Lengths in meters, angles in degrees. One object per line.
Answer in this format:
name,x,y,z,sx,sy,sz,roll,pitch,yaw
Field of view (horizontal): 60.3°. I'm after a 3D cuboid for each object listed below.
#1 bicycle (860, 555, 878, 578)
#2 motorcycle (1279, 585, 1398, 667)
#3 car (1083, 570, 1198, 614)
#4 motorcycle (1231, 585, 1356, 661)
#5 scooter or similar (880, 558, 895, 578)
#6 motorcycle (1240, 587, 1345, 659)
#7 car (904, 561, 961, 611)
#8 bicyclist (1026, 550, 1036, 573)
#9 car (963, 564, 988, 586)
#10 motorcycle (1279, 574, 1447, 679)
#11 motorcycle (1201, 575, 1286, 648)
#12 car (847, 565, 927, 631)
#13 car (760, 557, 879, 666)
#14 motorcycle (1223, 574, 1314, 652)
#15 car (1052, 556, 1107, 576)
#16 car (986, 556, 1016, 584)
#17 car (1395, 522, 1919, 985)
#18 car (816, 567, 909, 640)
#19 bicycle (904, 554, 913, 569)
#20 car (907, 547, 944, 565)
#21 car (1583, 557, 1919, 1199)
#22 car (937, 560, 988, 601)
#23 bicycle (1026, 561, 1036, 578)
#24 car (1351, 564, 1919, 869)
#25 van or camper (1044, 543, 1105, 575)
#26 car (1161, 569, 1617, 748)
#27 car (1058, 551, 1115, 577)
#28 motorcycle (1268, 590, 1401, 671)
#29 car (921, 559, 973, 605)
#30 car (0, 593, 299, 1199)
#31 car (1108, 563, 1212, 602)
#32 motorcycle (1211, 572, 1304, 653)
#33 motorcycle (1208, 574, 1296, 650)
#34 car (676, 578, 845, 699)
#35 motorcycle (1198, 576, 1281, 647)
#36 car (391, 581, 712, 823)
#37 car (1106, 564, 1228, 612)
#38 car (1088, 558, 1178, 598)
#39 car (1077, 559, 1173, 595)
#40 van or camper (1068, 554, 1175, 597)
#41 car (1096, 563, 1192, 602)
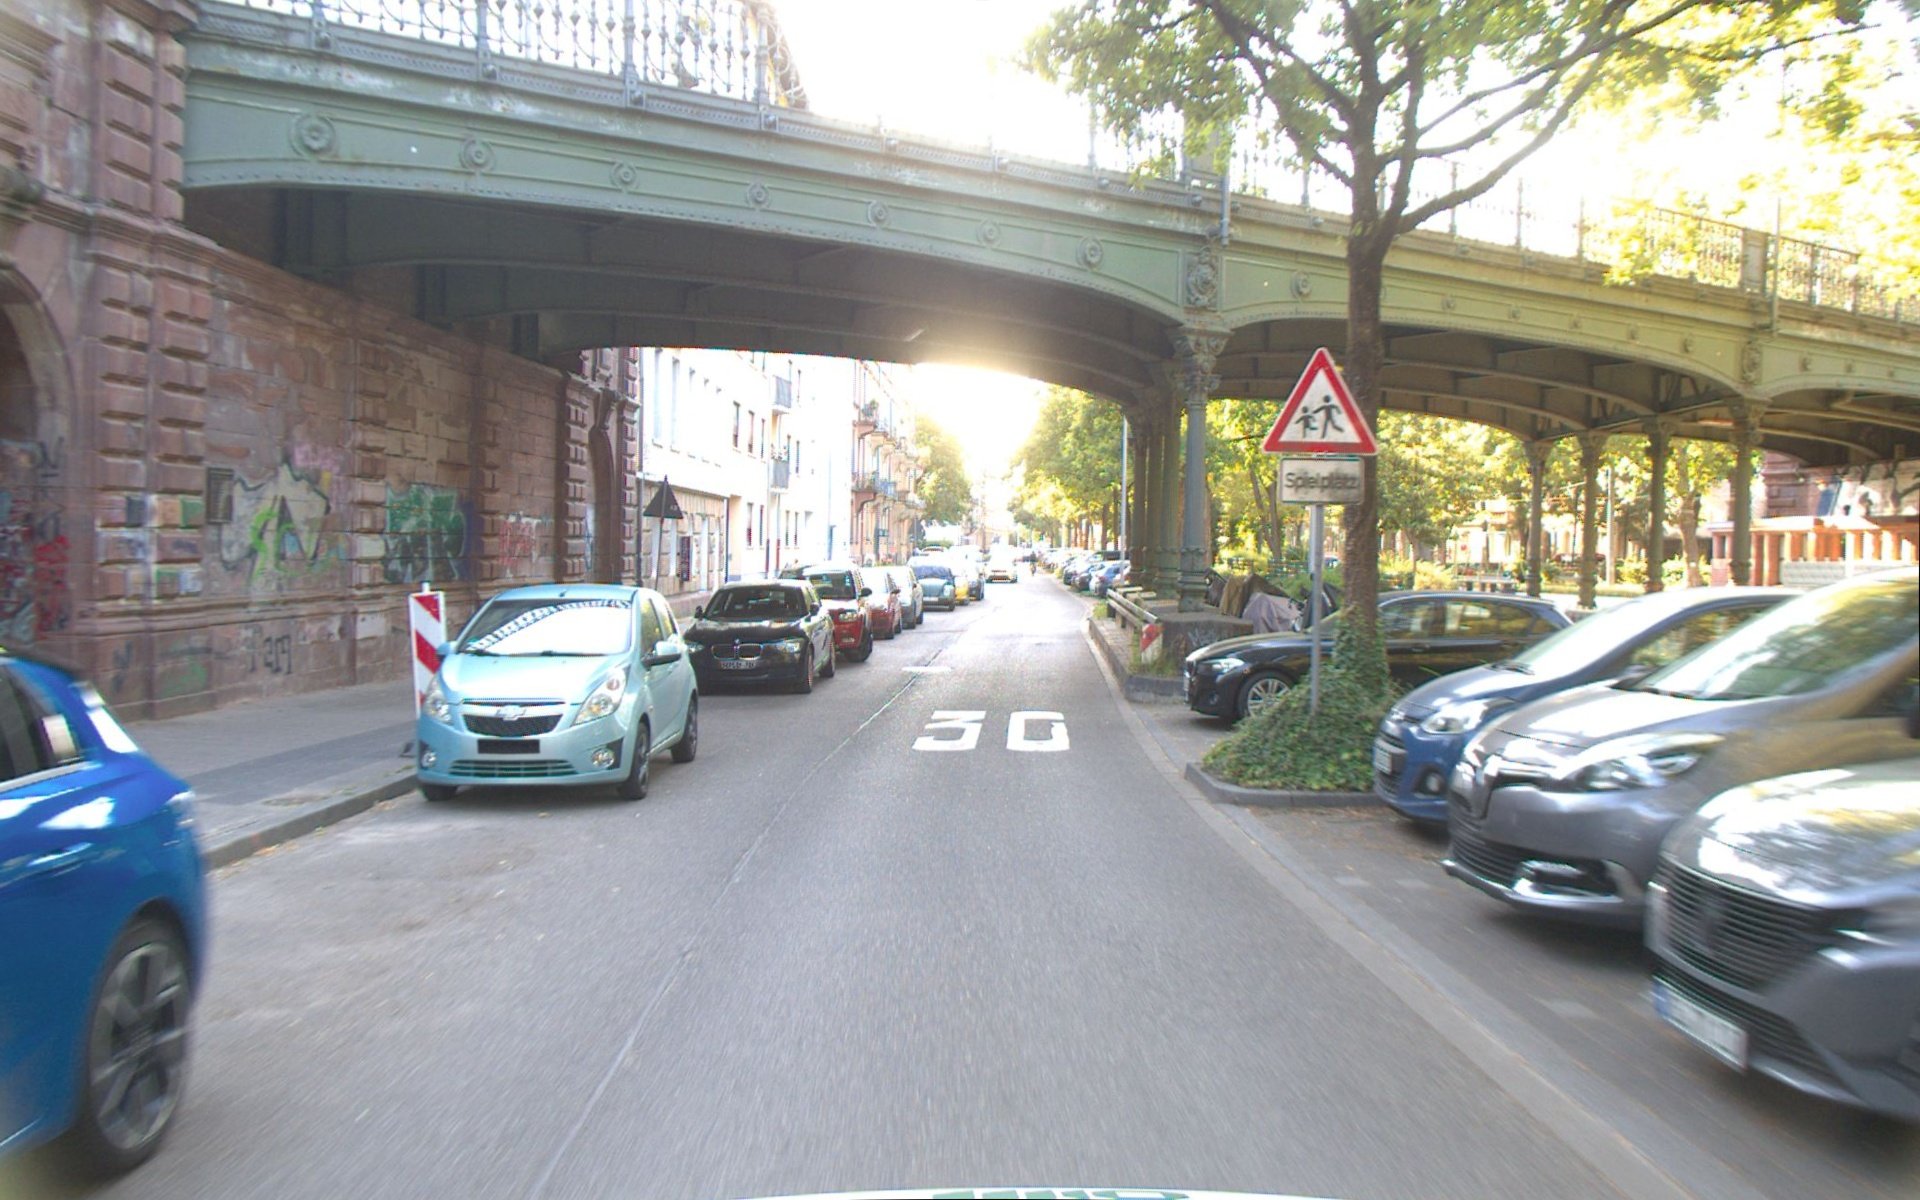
bicycle,-5.056,-1.870,92.061,0.721,1.227,2.515,2,2,3
motorcycle,5.607,0.388,24.478,1.704,1.152,0.704,2,0,-33
car,5.963,-0.270,55.020,3.703,1.426,1.828,0,0,3
motorcycle,5.412,0.375,26.836,1.806,1.152,0.845,2,0,-22
scooter or similar,-4.797,-2.143,110.083,0.767,1.243,2.705,2,0,2
motorcycle,5.652,0.382,28.112,1.573,1.152,0.710,2,0,-15
car,-0.843,-0.477,53.060,1.534,1.544,3.784,1,1,3
bicyclist,5.100,-2.778,118.305,0.614,1.600,0.802,2,0,0
car,1.062,-1.693,112.043,1.472,1.460,2.755,0,2,6
motorcycle,5.135,0.340,21.100,1.904,1.259,0.898,2,0,-24
motorcycle,5.826,0.236,34.004,1.567,1.433,0.712,2,0,22
car,-1.767,-0.084,41.311,1.602,1.492,4.002,-2,1,2
car,-2.356,0.138,28.678,1.681,1.737,4.323,0,1,0
motorcycle,5.973,0.246,32.028,1.567,1.433,0.712,2,0,22
car,9.055,-2.578,125.281,4.130,1.478,1.650,0,2,6
car,2.370,-1.742,95.579,1.633,1.455,4.003,-1,3,2
car,4.380,0.652,7.411,4.287,1.738,1.906,2,0,-3
car,-2.080,0.027,36.216,1.654,1.466,4.002,1,1,2
bicycle,-4.116,-3.072,133.155,0.690,1.167,1.889,2,0,-1
car,-3.812,-4.930,184.880,3.904,1.735,2.001,2,0,3
car,4.360,0.762,4.899,4.285,1.559,1.876,2,0,0
car,0.122,-0.766,63.122,1.703,1.505,4.002,0,2,3
bicycle,5.069,-2.164,118.176,0.628,1.119,1.944,2,0,1
car,4.794,0.654,10.045,4.489,1.634,1.736,1,0,5
van or camper,9.515,-3.379,137.796,4.880,2.418,2.185,2,0,0
car,4.360,0.581,17.247,4.285,1.605,1.674,2,0,0
car,9.224,-2.644,120.820,4.132,1.896,1.762,-1,1,3
motorcycle,5.162,0.426,22.792,1.704,1.048,0.803,2,0,-33
car,-0.430,-0.661,58.266,1.667,1.551,3.775,1,1,1
car,-2.826,0.735,2.817,1.709,1.492,4.374,2,0,-2
car,7.563,-0.664,62.796,3.706,1.426,1.766,0,0,-2
motorcycle,5.596,0.233,31.128,1.567,1.433,0.712,2,0,22
motorcycle,5.852,0.239,33.134,1.567,1.433,0.712,2,0,22
car,-2.645,0.456,22.764,1.681,1.489,4.002,0,1,2
motorcycle,5.914,0.237,35.015,1.567,1.433,0.712,2,0,22
car,-2.982,0.646,12.852,1.562,1.574,3.915,0,1,-1
car,6.633,-0.371,53.254,3.706,1.498,1.635,0,0,-2
car,7.376,-0.923,70.649,3.703,1.675,1.665,0,0,2
car,7.515,-1.056,75.375,4.306,1.605,1.665,0,0,7
van or camper,8.140,-1.261,83.617,5.300,2.062,2.031,0,2,4
car,7.246,-0.684,65.094,3.701,1.472,1.665,0,0,7
